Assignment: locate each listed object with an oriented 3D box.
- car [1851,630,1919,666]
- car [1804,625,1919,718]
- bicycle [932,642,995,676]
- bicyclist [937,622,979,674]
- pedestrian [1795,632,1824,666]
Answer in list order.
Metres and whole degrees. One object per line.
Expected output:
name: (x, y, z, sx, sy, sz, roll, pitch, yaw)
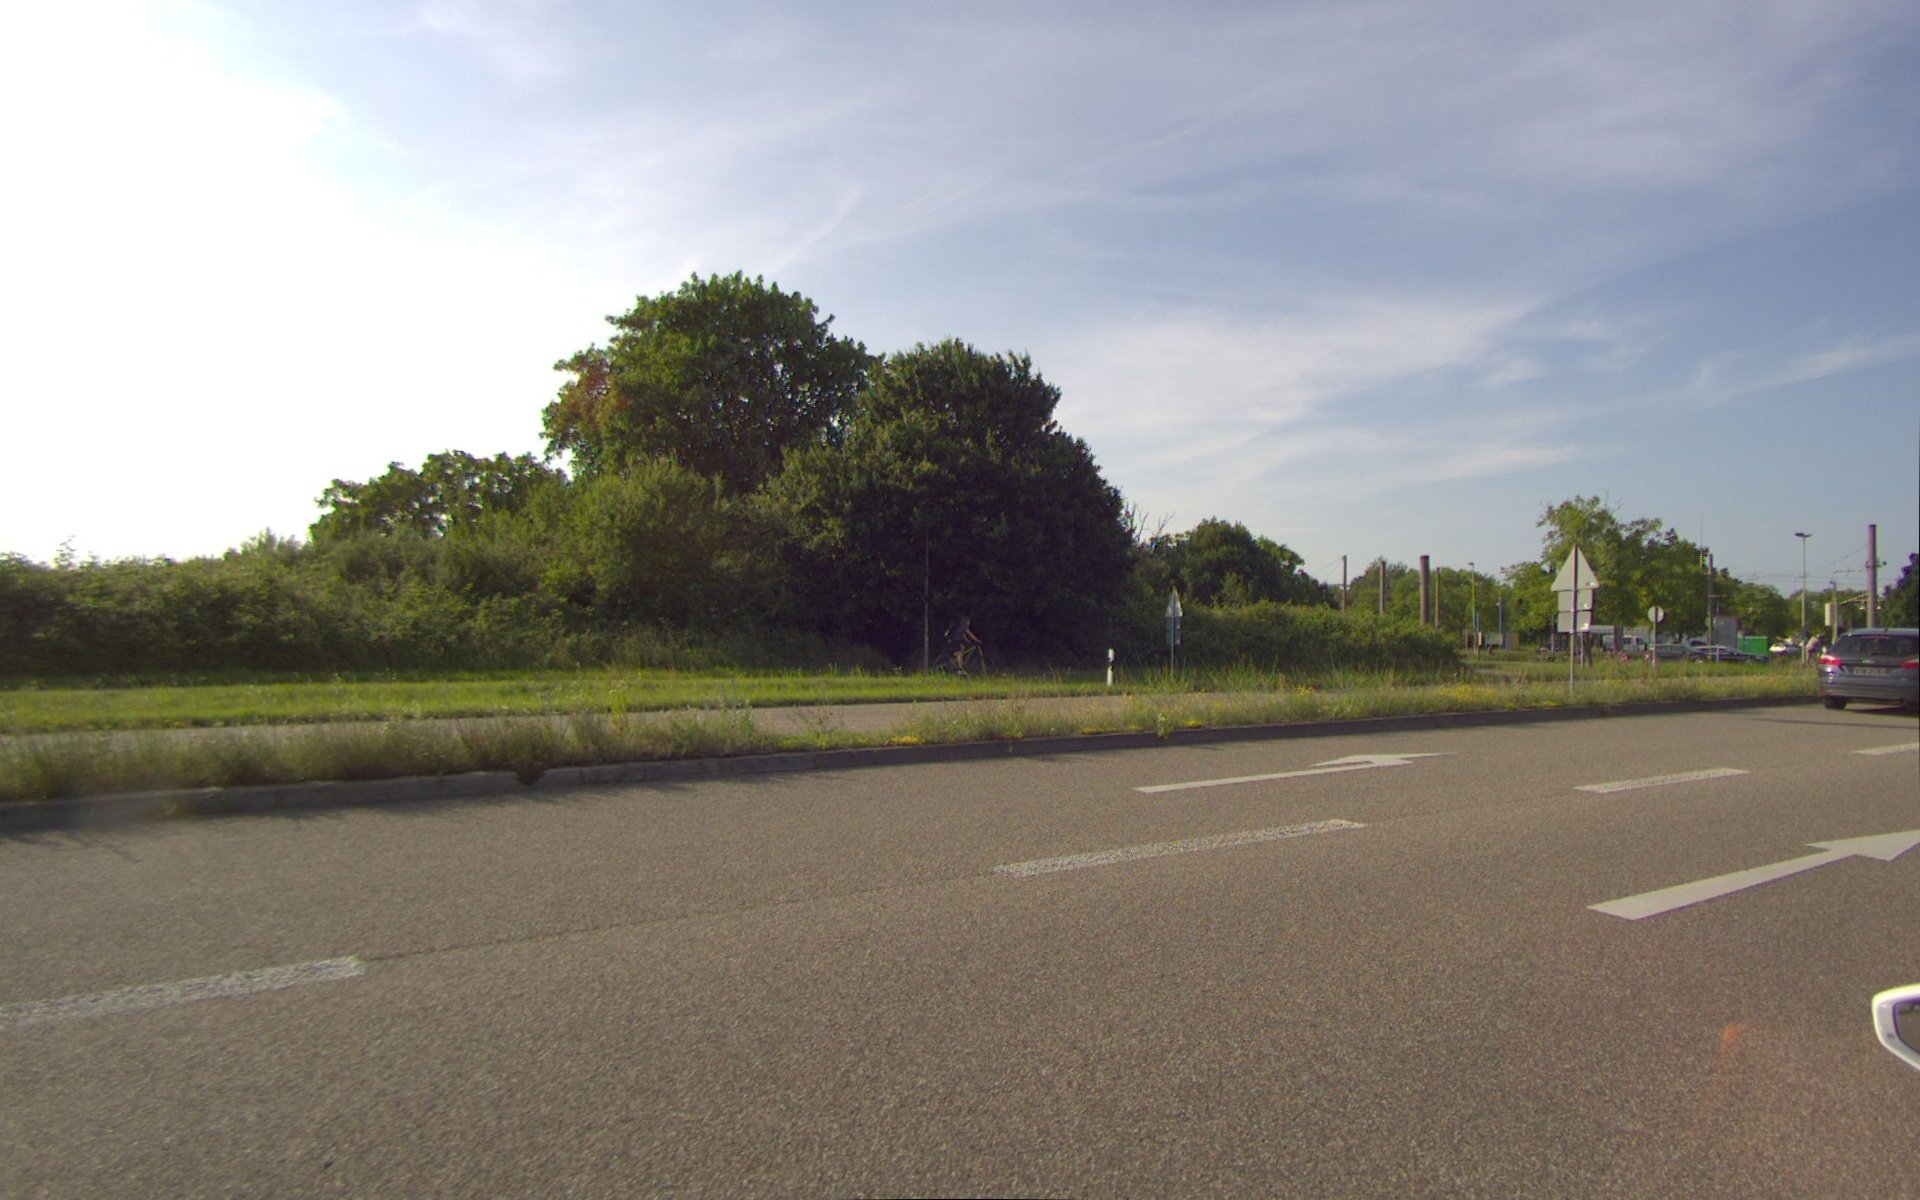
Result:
car: (48.441, 2.500, 51.392, 1.852, 1.684, 3.995, 3, 0, -7)
car: (17.102, 1.221, 17.915, 4.466, 1.475, 1.724, 1, -1, -30)
bicycle: (0.093, 1.589, 27.396, 1.685, 0.890, 0.527, 1, -1, -31)
bicyclist: (-0.051, 1.302, 27.334, 1.035, 1.408, 0.464, 1, -1, -31)
pedestrian: (44.931, 2.572, 53.112, 1.057, 1.728, 0.909, 3, 0, -36)
